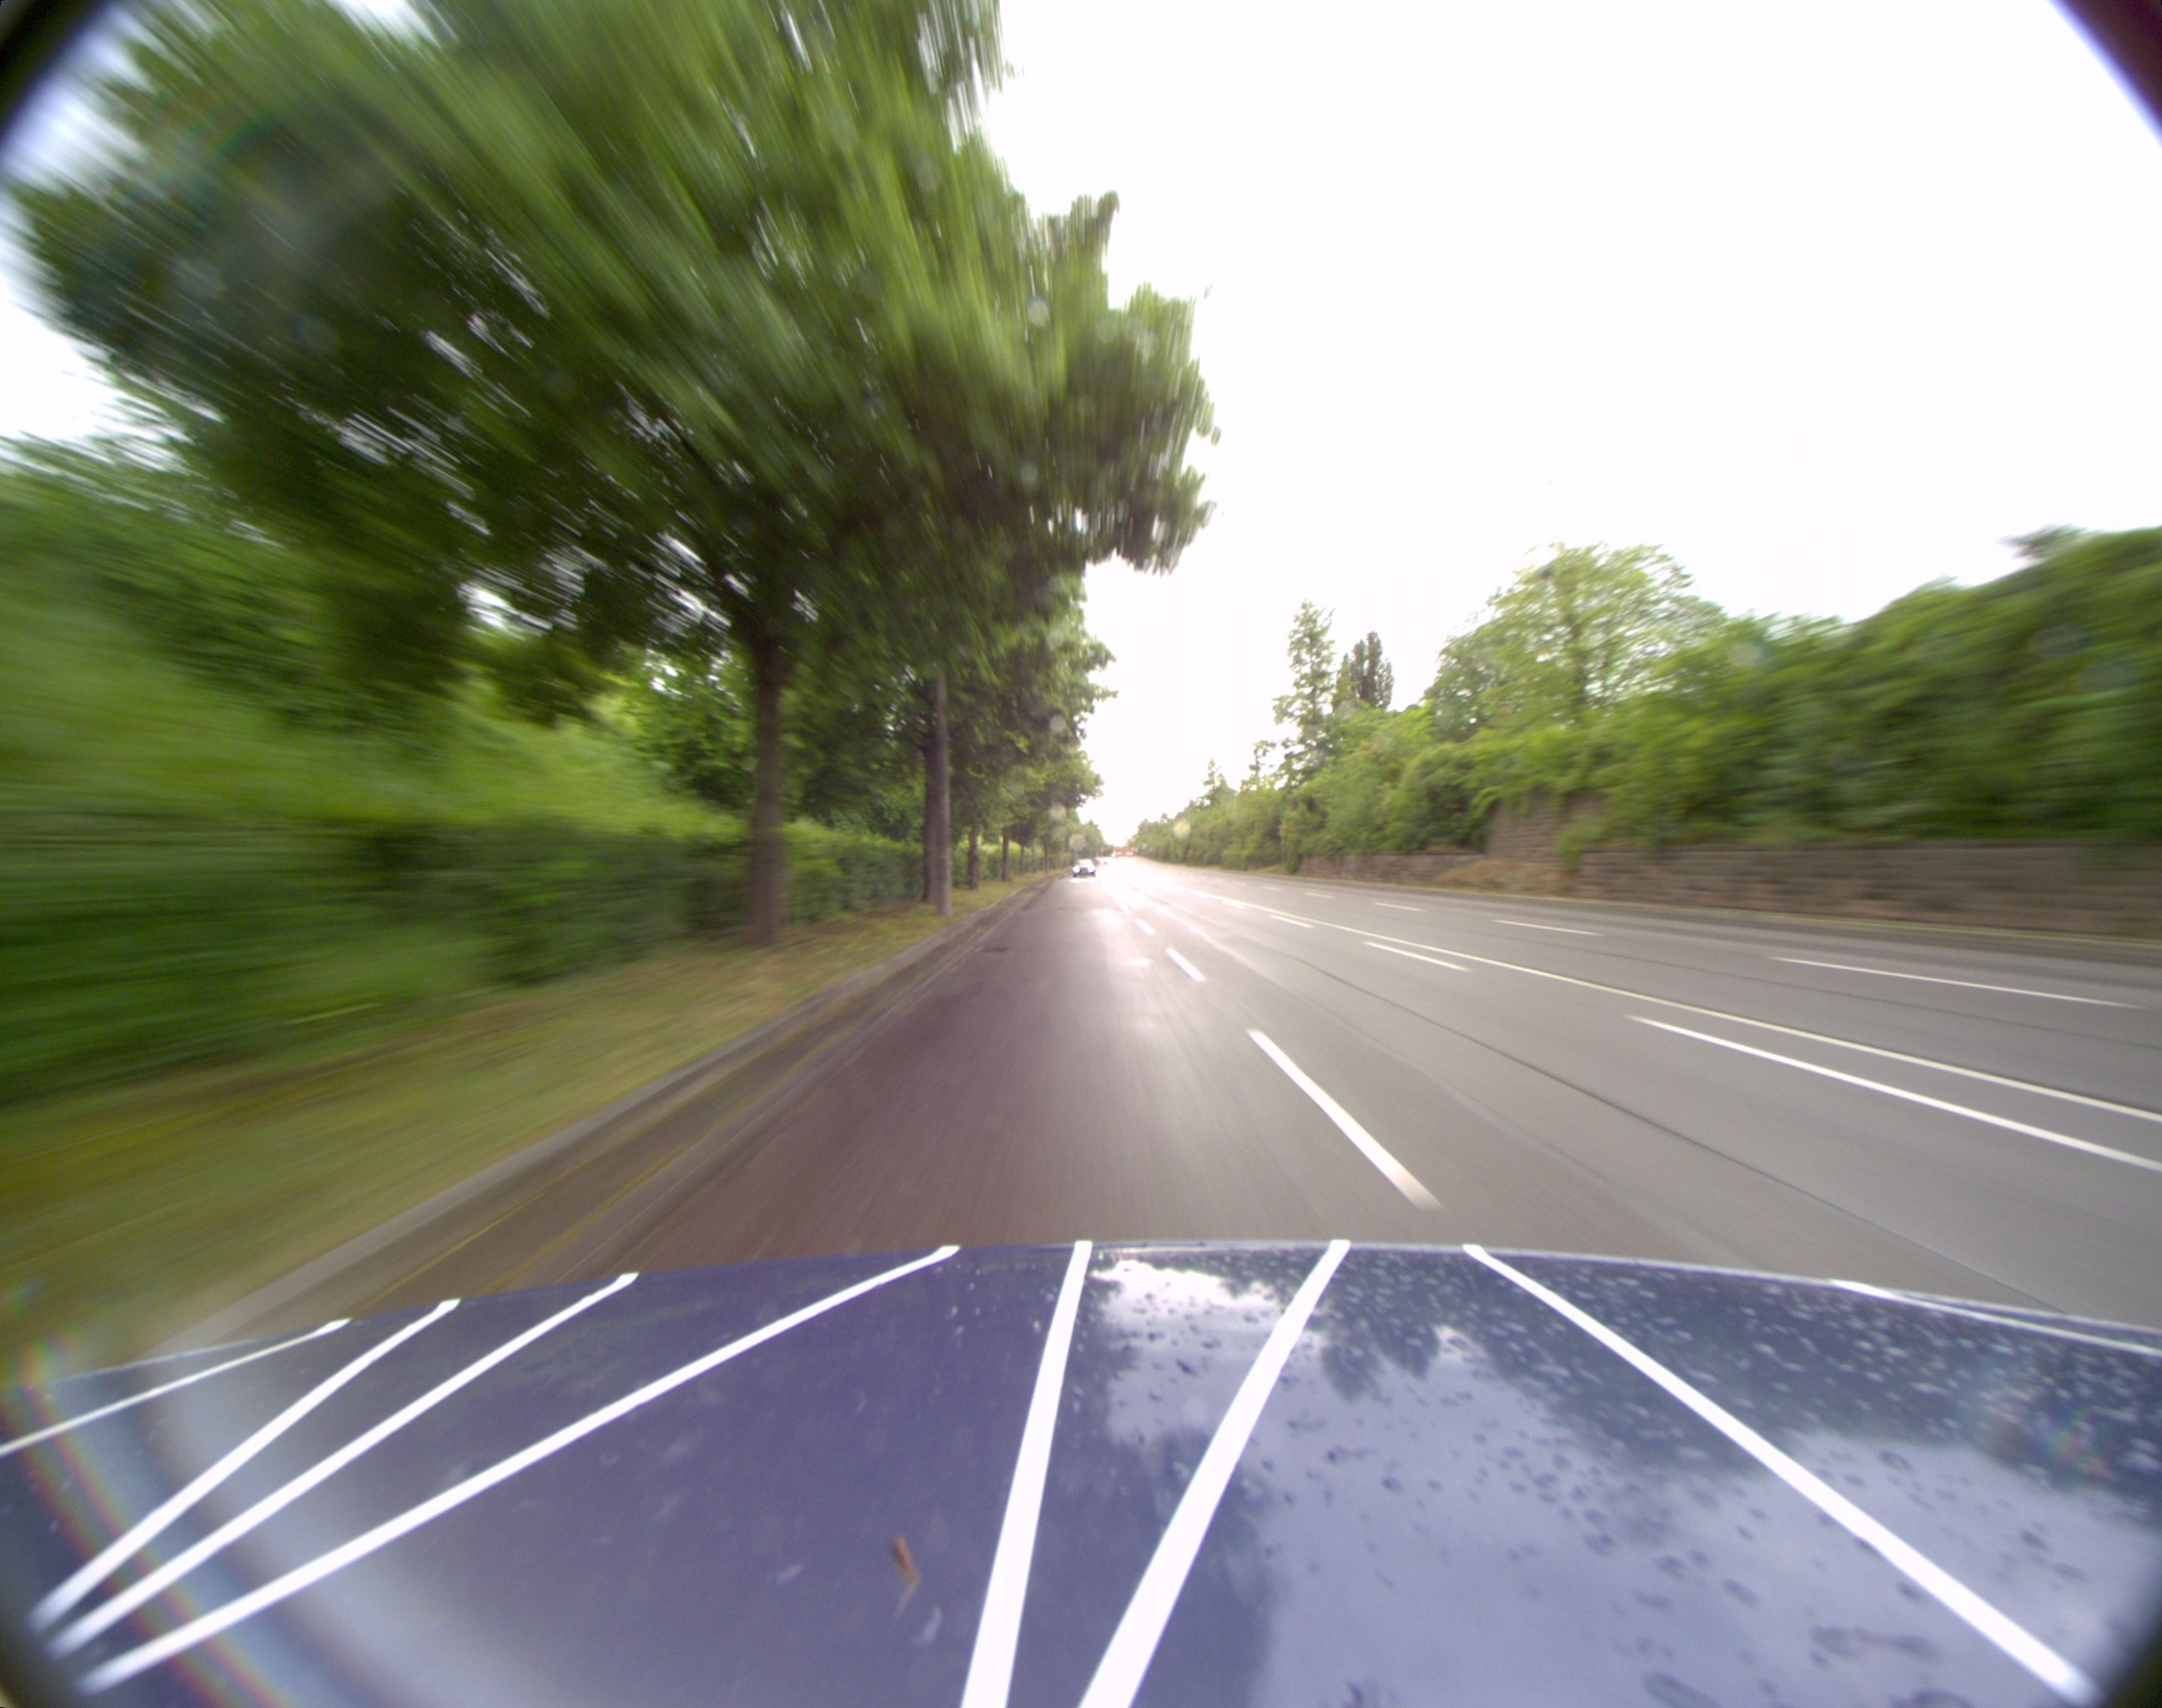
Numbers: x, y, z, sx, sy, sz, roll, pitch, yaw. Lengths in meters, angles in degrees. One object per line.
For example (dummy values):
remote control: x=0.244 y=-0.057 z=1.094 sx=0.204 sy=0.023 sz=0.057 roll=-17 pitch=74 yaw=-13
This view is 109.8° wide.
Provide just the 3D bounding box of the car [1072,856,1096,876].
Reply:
car: x=0.265 y=0.970 z=62.685 sx=1.824 sy=1.547 sz=4.000 roll=-2 pitch=1 yaw=1

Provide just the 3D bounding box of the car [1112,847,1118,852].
car: x=11.782 y=-1.491 z=262.801 sx=1.930 sy=1.805 sz=4.000 roll=-2 pitch=1 yaw=1
